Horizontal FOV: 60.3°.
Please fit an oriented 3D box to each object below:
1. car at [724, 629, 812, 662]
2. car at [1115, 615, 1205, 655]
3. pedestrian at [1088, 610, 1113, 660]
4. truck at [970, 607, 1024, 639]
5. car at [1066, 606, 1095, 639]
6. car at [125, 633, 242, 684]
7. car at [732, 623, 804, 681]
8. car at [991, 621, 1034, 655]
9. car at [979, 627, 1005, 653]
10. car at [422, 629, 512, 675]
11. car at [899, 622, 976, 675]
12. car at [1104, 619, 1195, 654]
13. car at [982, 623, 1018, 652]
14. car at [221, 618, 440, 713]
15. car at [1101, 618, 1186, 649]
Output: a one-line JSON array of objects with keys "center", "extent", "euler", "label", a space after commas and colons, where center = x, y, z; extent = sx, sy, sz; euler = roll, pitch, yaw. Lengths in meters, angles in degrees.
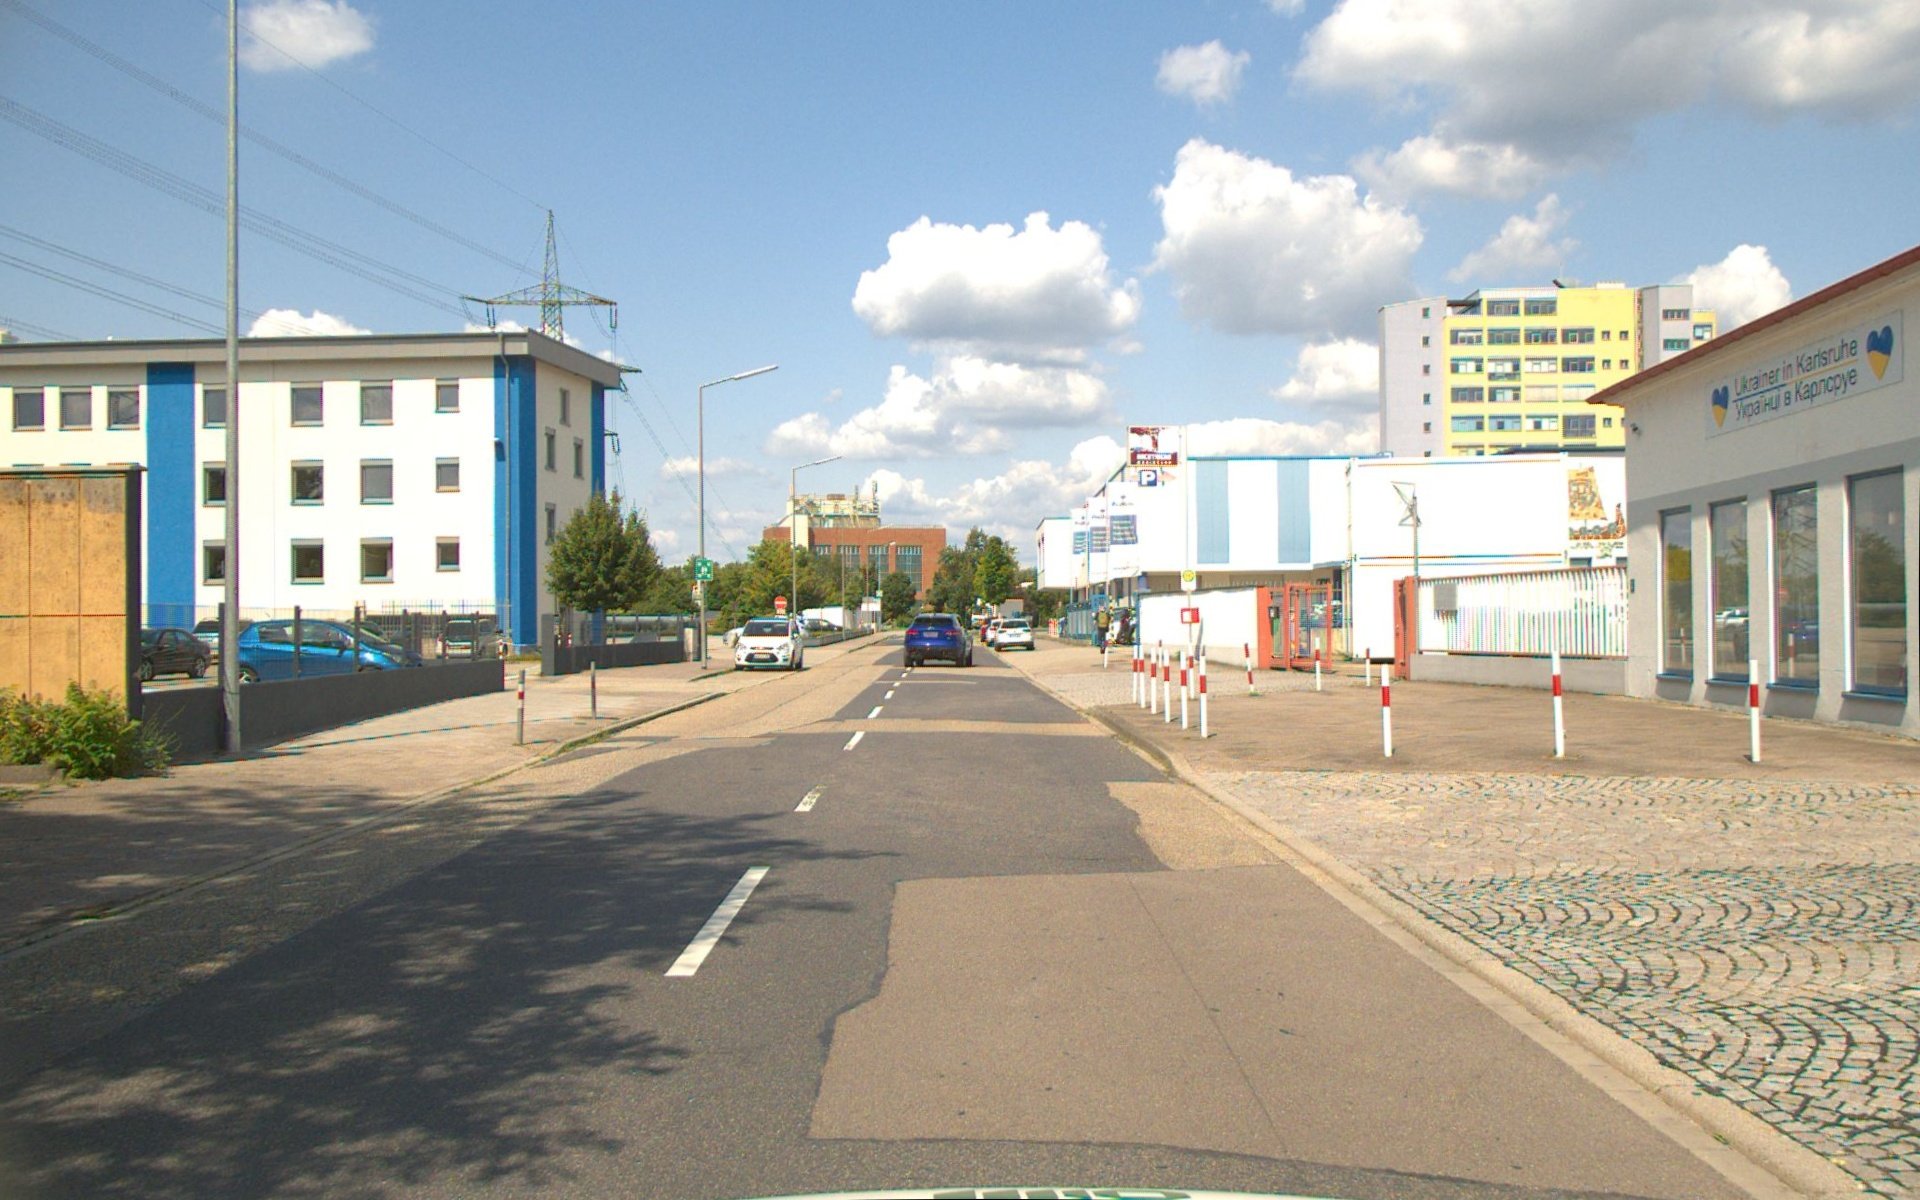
[{"center": [-10.543, 2.491, 91.069], "extent": [4.661, 1.630, 1.998], "euler": [-2, -1, -4], "label": "car"}, {"center": [8.792, 1.544, 72.958], "extent": [3.729, 1.710, 1.791], "euler": [0, -1, -1], "label": "car"}, {"center": [5.132, 1.285, 60.630], "extent": [0.754, 1.787, 0.787], "euler": [-3, -1, -1], "label": "pedestrian"}, {"center": [4.436, 2.692, 197.644], "extent": [2.278, 3.630, 9.350], "euler": [0, 1, 30], "label": "truck"}, {"center": [9.362, 1.744, 128.893], "extent": [1.884, 2.507, 5.258], "euler": [0, -1, 0], "label": "car"}, {"center": [-27.529, 2.050, 58.830], "extent": [1.786, 1.684, 4.447], "euler": [-2, -1, 4], "label": "car"}, {"center": [-6.053, 1.613, 52.634], "extent": [1.829, 1.738, 4.751], "euler": [0, -1, -1], "label": "car"}, {"center": [2.488, 1.810, 79.185], "extent": [1.830, 1.547, 4.596], "euler": [0, -1, -1], "label": "car"}, {"center": [2.175, 2.656, 110.982], "extent": [1.718, 1.679, 4.678], "euler": [0, -1, 1], "label": "car"}, {"center": [-17.747, 1.857, 59.714], "extent": [1.833, 1.533, 3.760], "euler": [-1, -1, 6], "label": "car"}, {"center": [-0.669, 1.515, 52.926], "extent": [1.869, 1.621, 4.704], "euler": [0, -1, 6], "label": "car"}, {"center": [8.634, 1.653, 75.655], "extent": [3.905, 1.445, 2.000], "euler": [-2, 0, 0], "label": "car"}, {"center": [2.194, 2.050, 91.984], "extent": [1.798, 1.547, 4.460], "euler": [0, -1, -1], "label": "car"}, {"center": [-12.340, 1.261, 32.588], "extent": [3.574, 1.738, 1.878], "euler": [-1, -1, -1], "label": "car"}, {"center": [9.466, 1.736, 85.586], "extent": [4.192, 1.445, 2.000], "euler": [-2, 0, 0], "label": "car"}]
